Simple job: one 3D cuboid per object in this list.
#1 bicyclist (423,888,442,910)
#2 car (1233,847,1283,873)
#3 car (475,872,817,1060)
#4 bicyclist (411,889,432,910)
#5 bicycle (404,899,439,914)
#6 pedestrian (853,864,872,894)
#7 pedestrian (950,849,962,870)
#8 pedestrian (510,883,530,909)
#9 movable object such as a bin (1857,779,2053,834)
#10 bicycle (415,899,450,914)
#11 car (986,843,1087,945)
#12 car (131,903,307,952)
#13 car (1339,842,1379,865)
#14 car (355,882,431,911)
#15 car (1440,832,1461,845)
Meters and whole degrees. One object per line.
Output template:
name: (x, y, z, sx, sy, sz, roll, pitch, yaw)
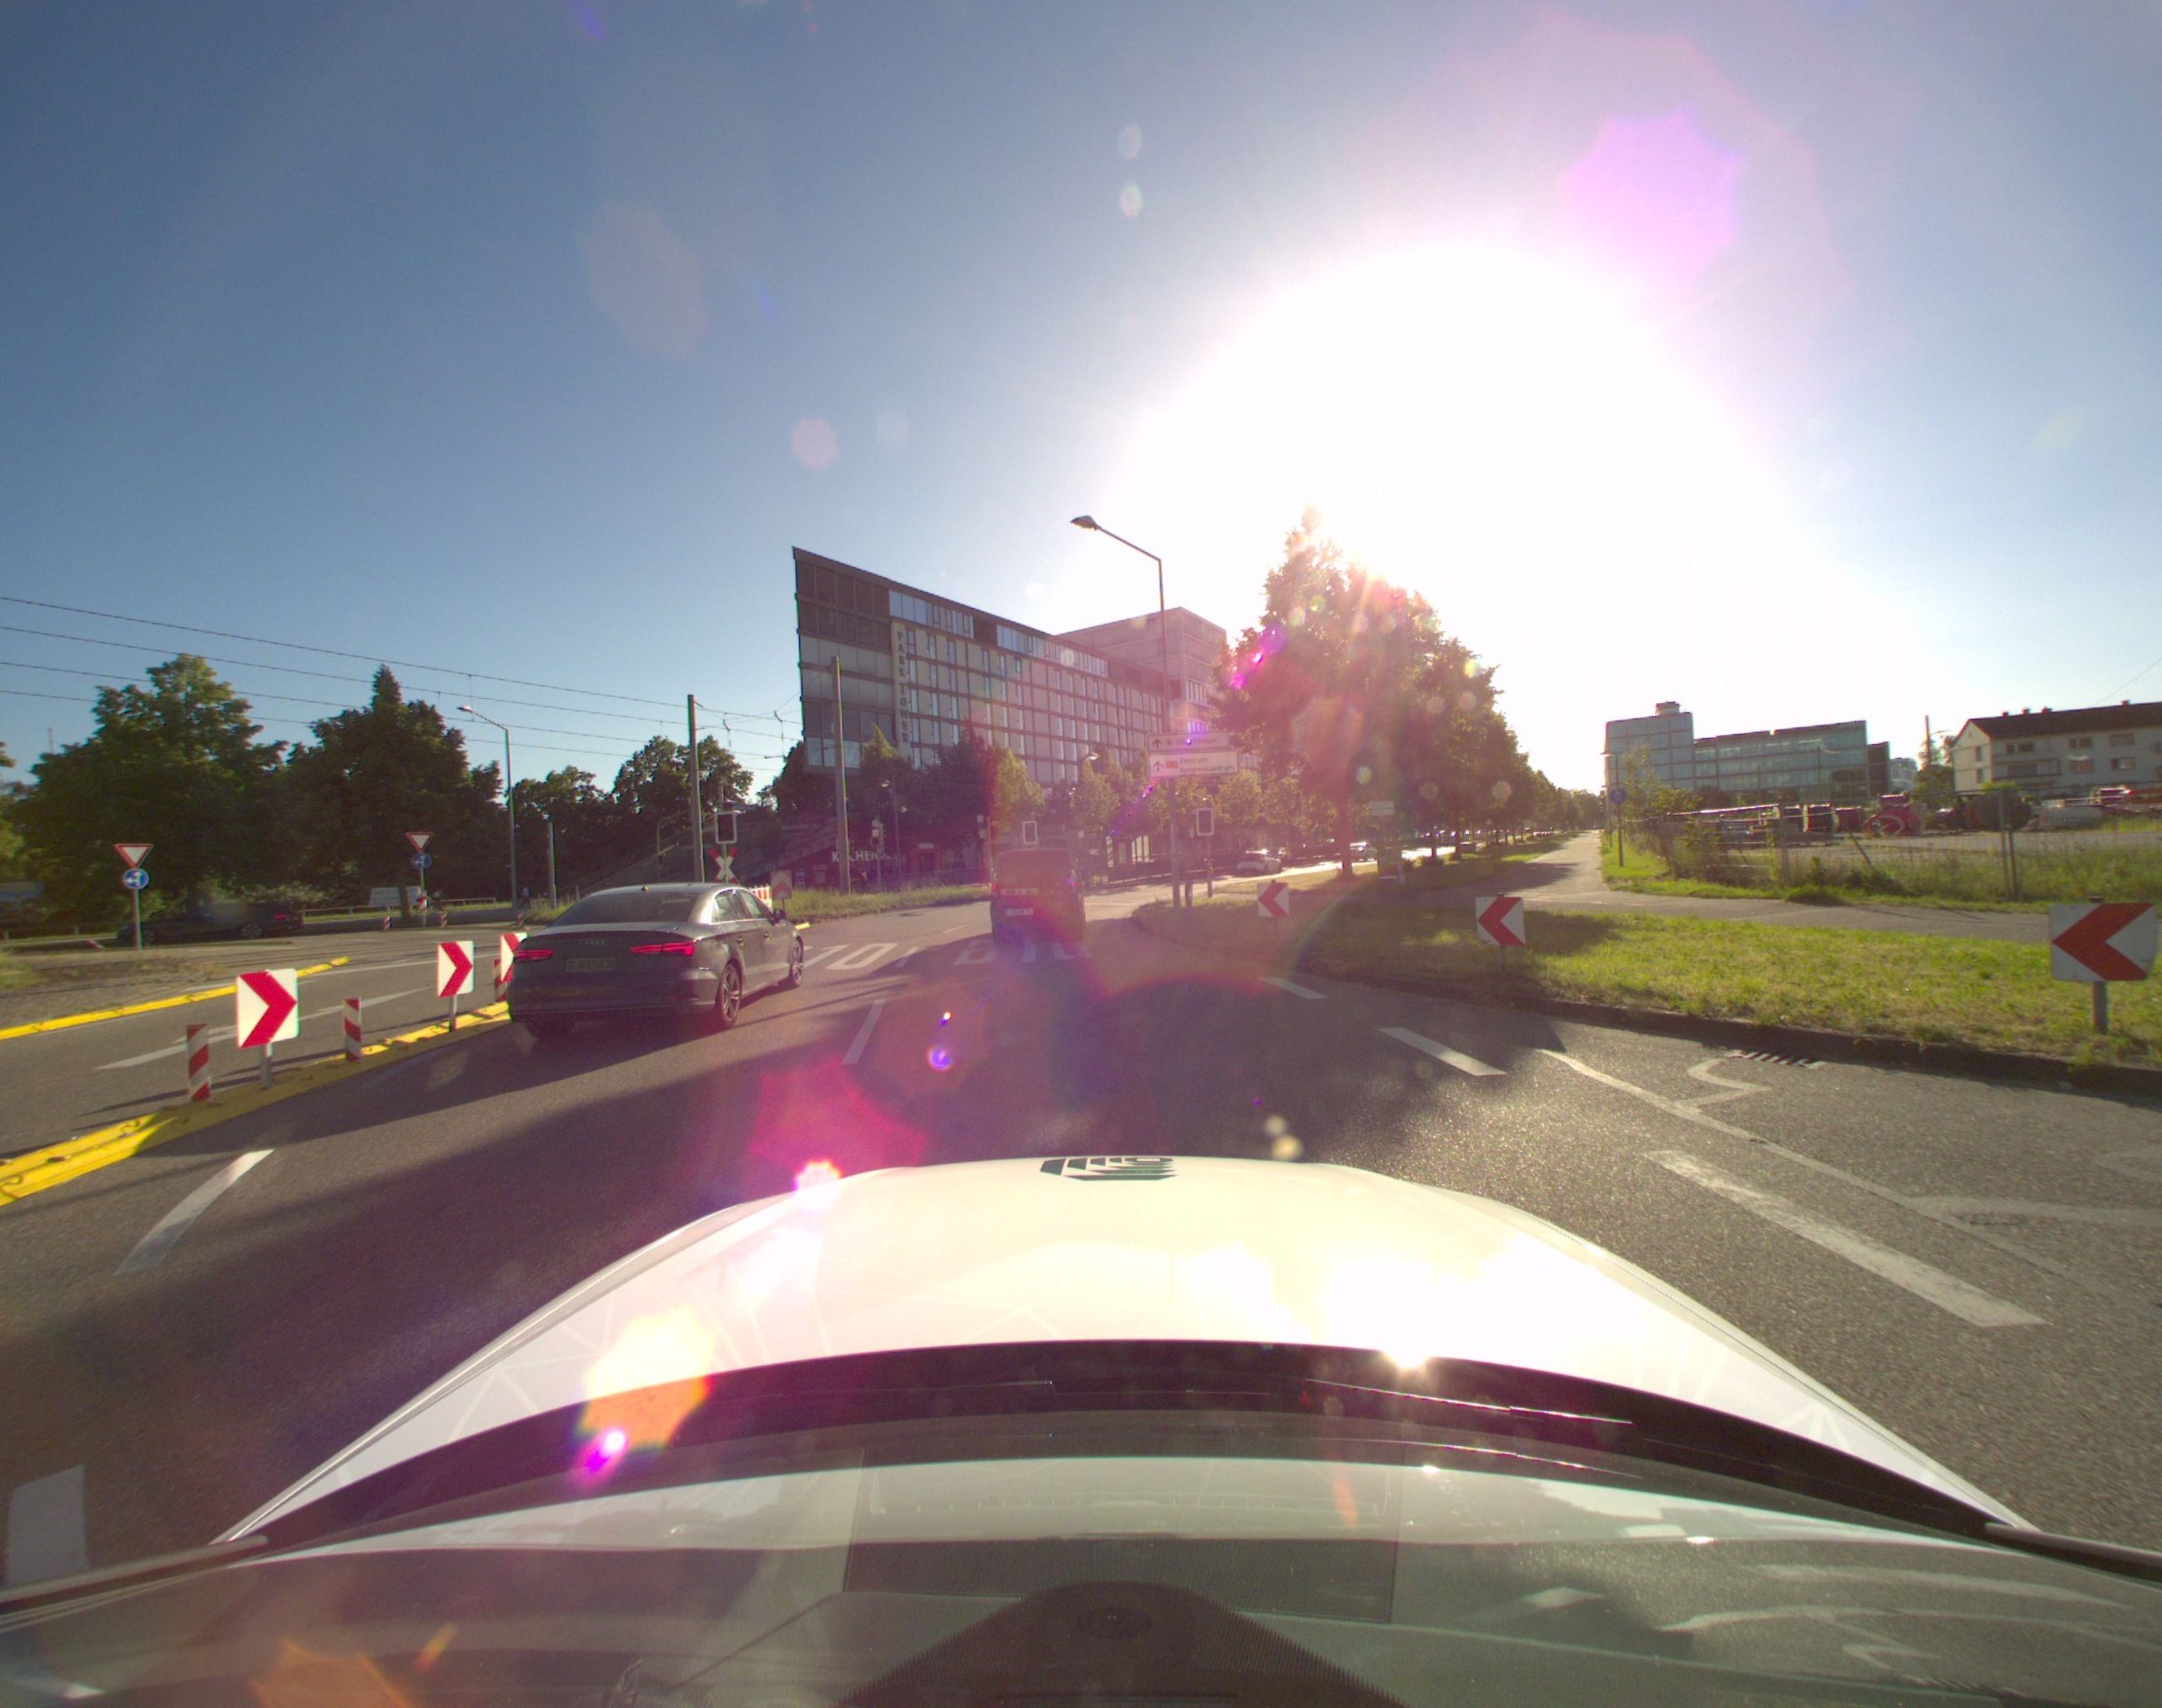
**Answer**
bicyclist: (-43.865, 3.061, 55.094, 0.612, 1.392, 0.721, -3, 1, 8)
car: (10.937, 0.352, 50.065, 1.785, 1.461, 3.834, -1, 0, 32)
car: (-4.263, 0.954, 8.870, 1.759, 1.380, 4.348, -3, 0, -7)
bicyclist: (-45.013, 3.094, 55.566, 0.612, 1.392, 0.839, -3, 1, 8)
bicycle: (-44.970, 3.569, 55.566, 0.612, 0.852, 1.894, -3, 1, 8)
pedestrian: (-11.138, 1.284, 41.498, 0.549, 1.466, 0.681, -2, 0, 30)
pedestrian: (-11.953, 0.538, 77.854, 0.632, 2.013, 0.839, -2, 0, 34)
pedestrian: (-36.089, 2.716, 52.388, 0.874, 1.629, 0.766, -3, 1, 38)
movable object such as a bin: (53.982, -2.881, 50.703, 7.829, 2.782, 2.963, -2, 1, 36)
bicycle: (-43.839, 3.538, 55.077, 0.612, 0.852, 1.894, -3, 1, 8)
car: (-0.832, 0.722, 16.860, 1.797, 1.813, 3.808, -2, 0, -1)
car: (-34.791, 2.925, 33.057, 4.500, 1.487, 1.722, -3, 1, -27)
car: (22.607, -0.028, 66.025, 1.974, 1.575, 4.437, -3, 1, 33)
car: (-51.079, 3.149, 60.541, 3.735, 1.805, 1.831, -4, 1, -12)
car: (50.370, -2.081, 110.860, 1.974, 1.575, 4.437, -3, 1, 32)
